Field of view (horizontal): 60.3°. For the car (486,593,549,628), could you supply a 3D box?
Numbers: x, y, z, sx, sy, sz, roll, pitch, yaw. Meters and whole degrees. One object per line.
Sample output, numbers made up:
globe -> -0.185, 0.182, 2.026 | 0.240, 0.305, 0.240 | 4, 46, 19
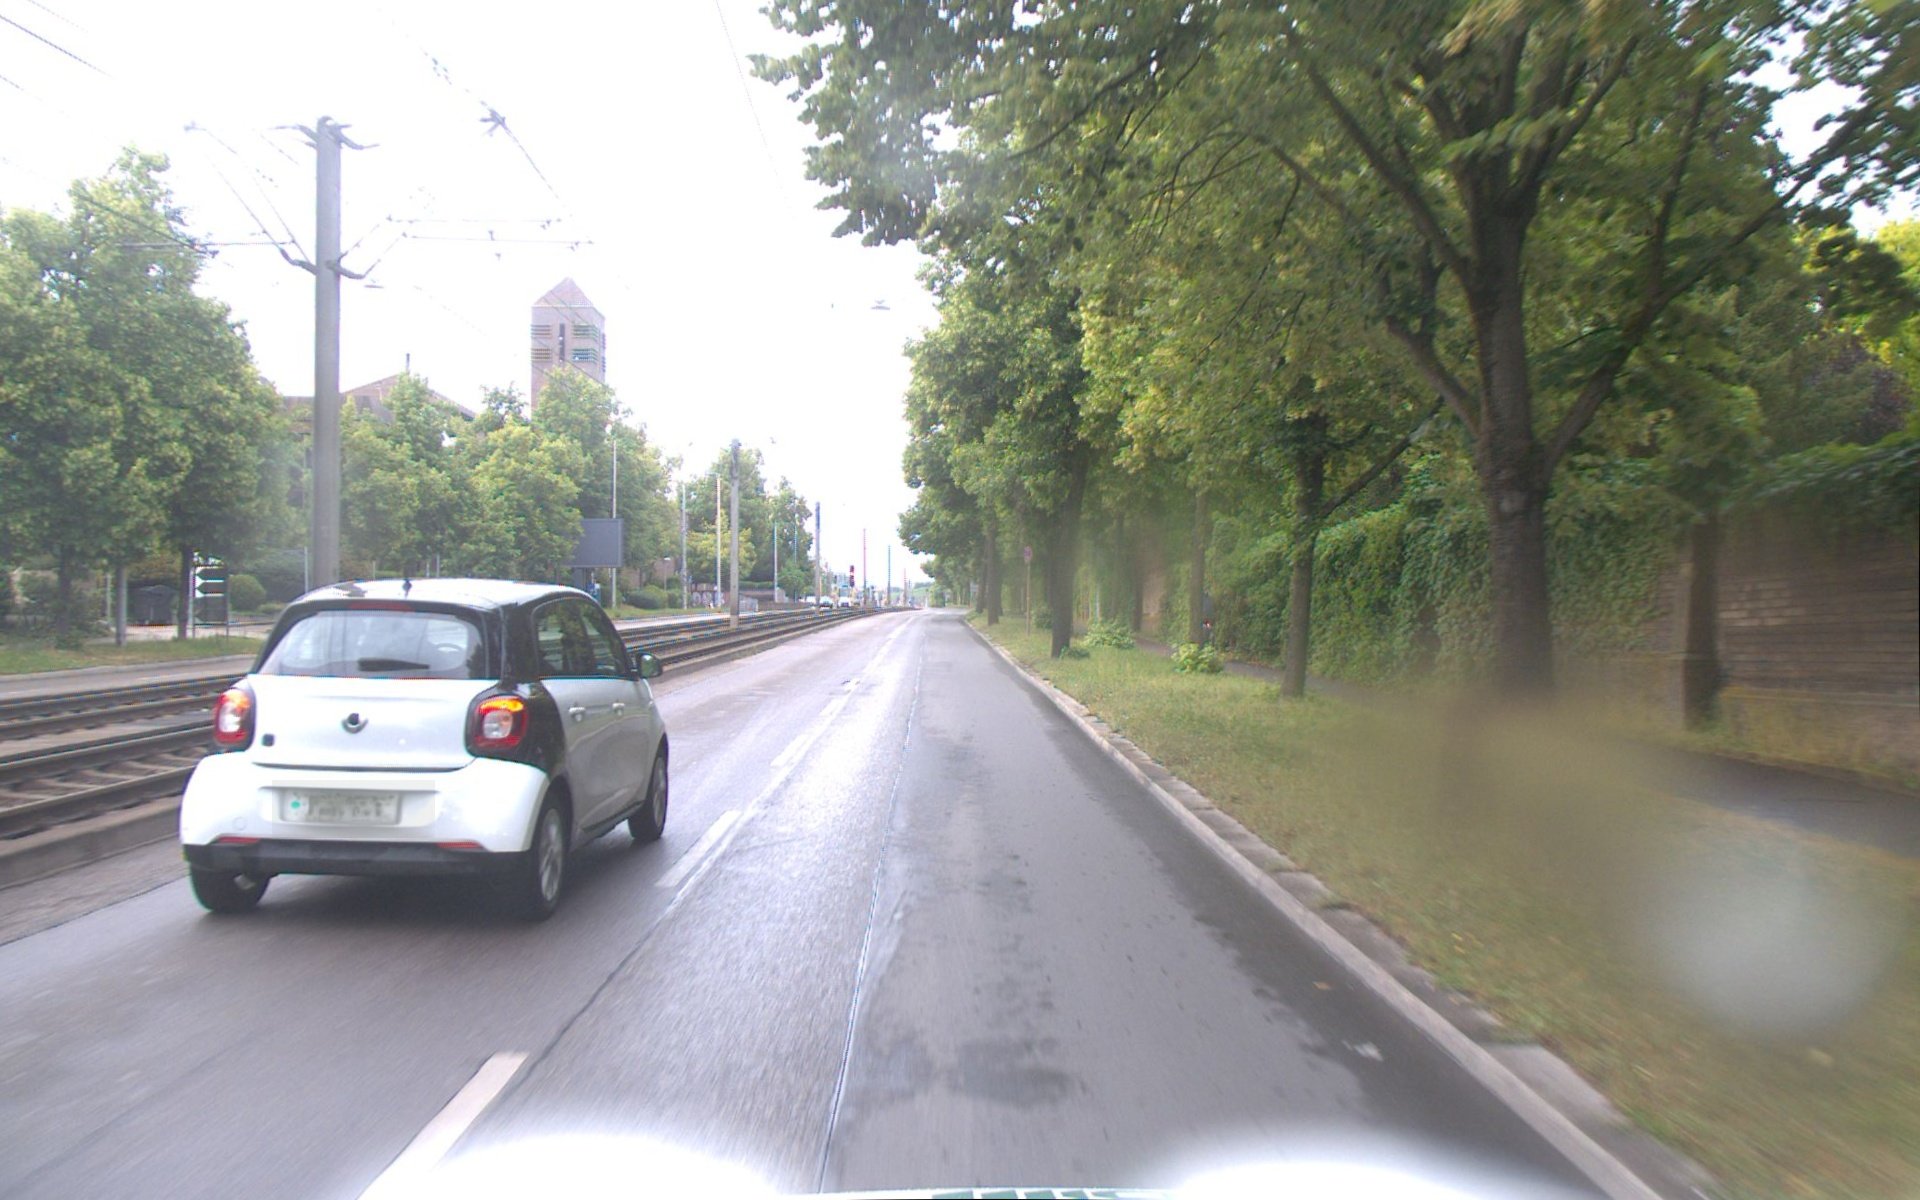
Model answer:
car -> -20.103, 0.459, 75.268 | 1.758, 1.557, 4.620 | 0, 0, -2

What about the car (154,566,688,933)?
car -> -2.597, 0.627, 8.889 | 1.641, 1.557, 3.721 | 0, 0, 0

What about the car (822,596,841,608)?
car -> -17.745, 0.314, 228.824 | 1.971, 1.685, 4.618 | 0, 0, 3

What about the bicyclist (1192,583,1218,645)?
bicyclist -> 5.598, 0.318, 37.799 | 0.524, 1.414, 0.666 | 0, 0, 2

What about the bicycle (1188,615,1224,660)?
bicycle -> 5.590, 0.832, 37.616 | 0.531, 0.964, 2.550 | 0, 0, 2
